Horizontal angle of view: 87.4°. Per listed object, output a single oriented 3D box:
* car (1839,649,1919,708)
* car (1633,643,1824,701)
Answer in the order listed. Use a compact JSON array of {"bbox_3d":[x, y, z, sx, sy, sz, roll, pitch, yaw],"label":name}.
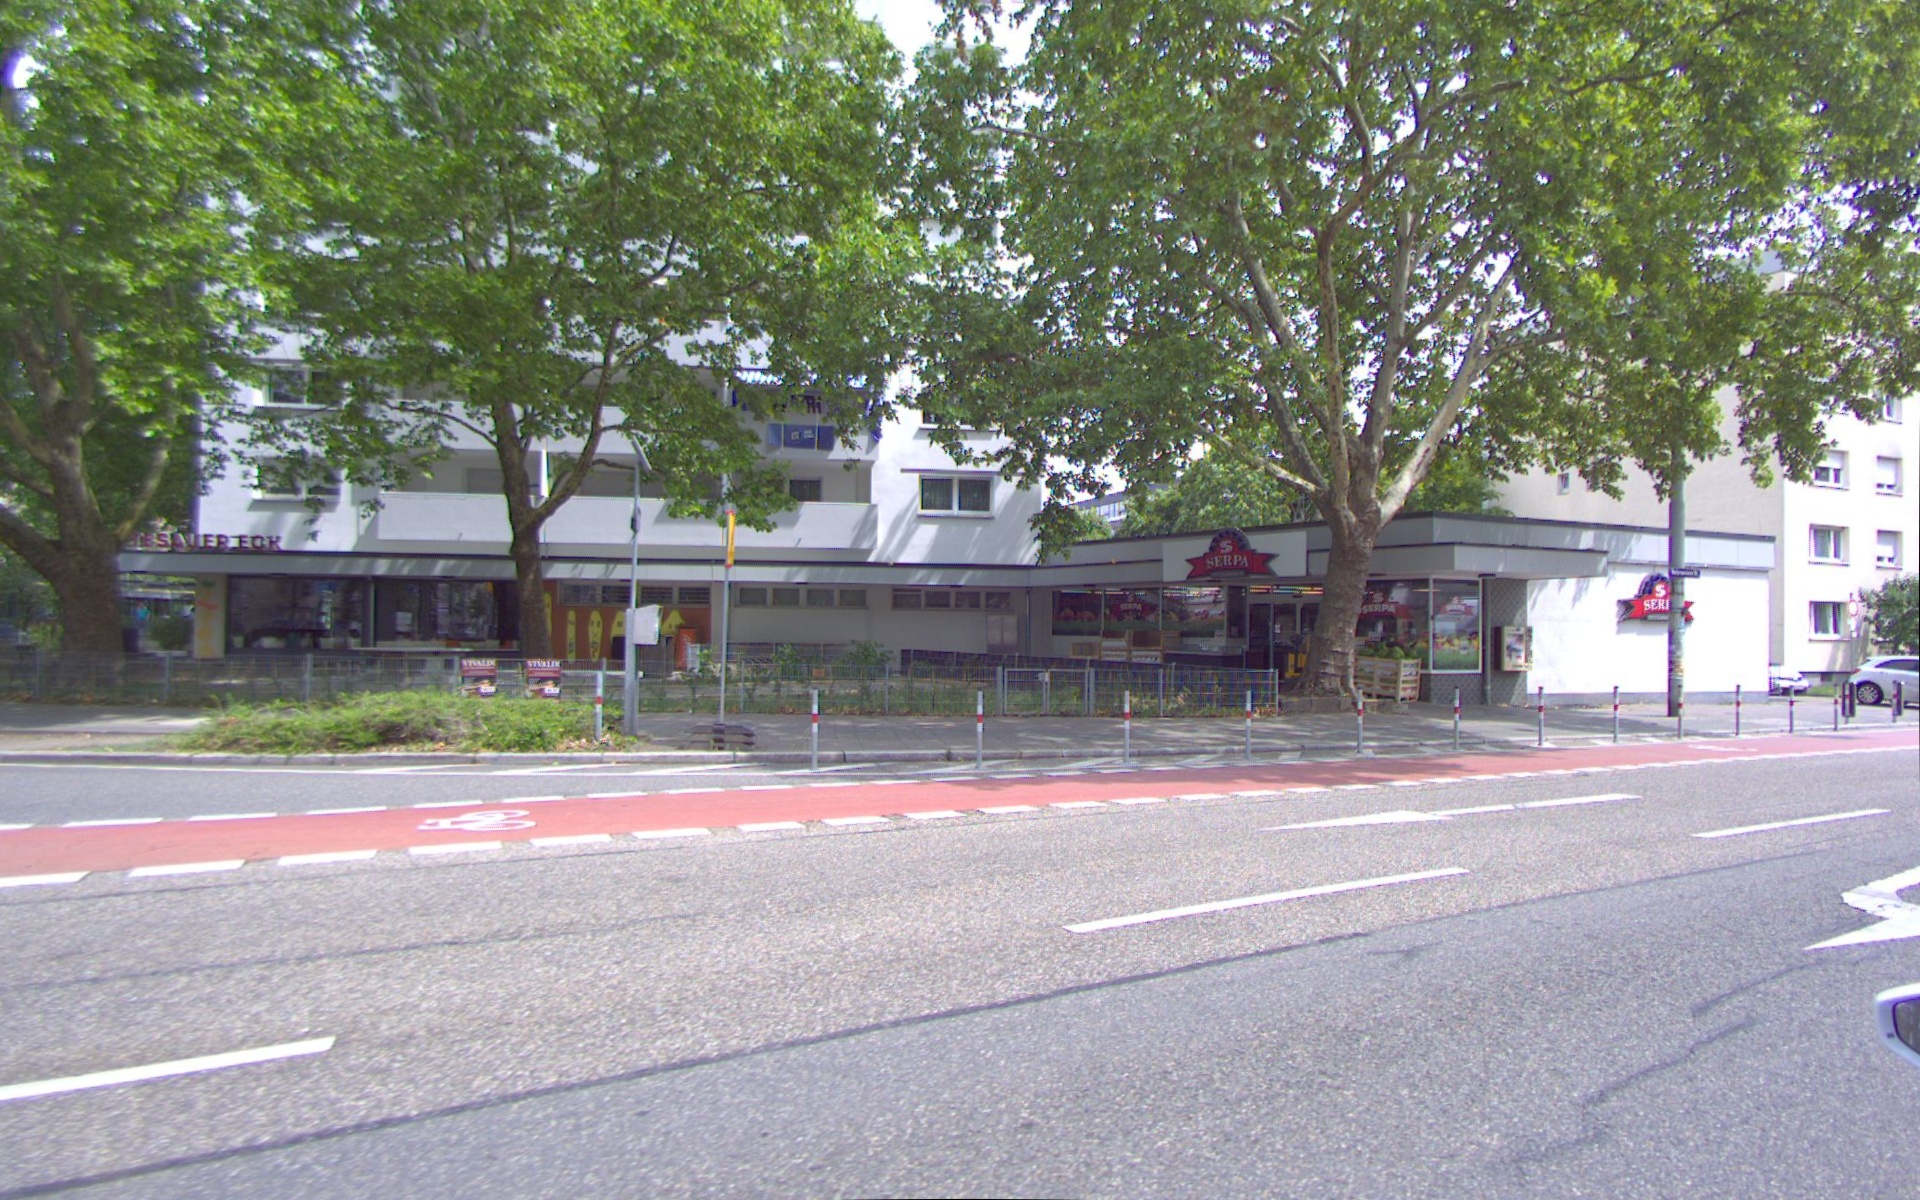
[{"bbox_3d":[27.024,2.225,27.420,1.822,1.470,4.163,2,1,-22],"label":"car"},{"bbox_3d":[24.408,2.240,32.140,1.820,1.708,4.628,1,-3,-19],"label":"car"}]
